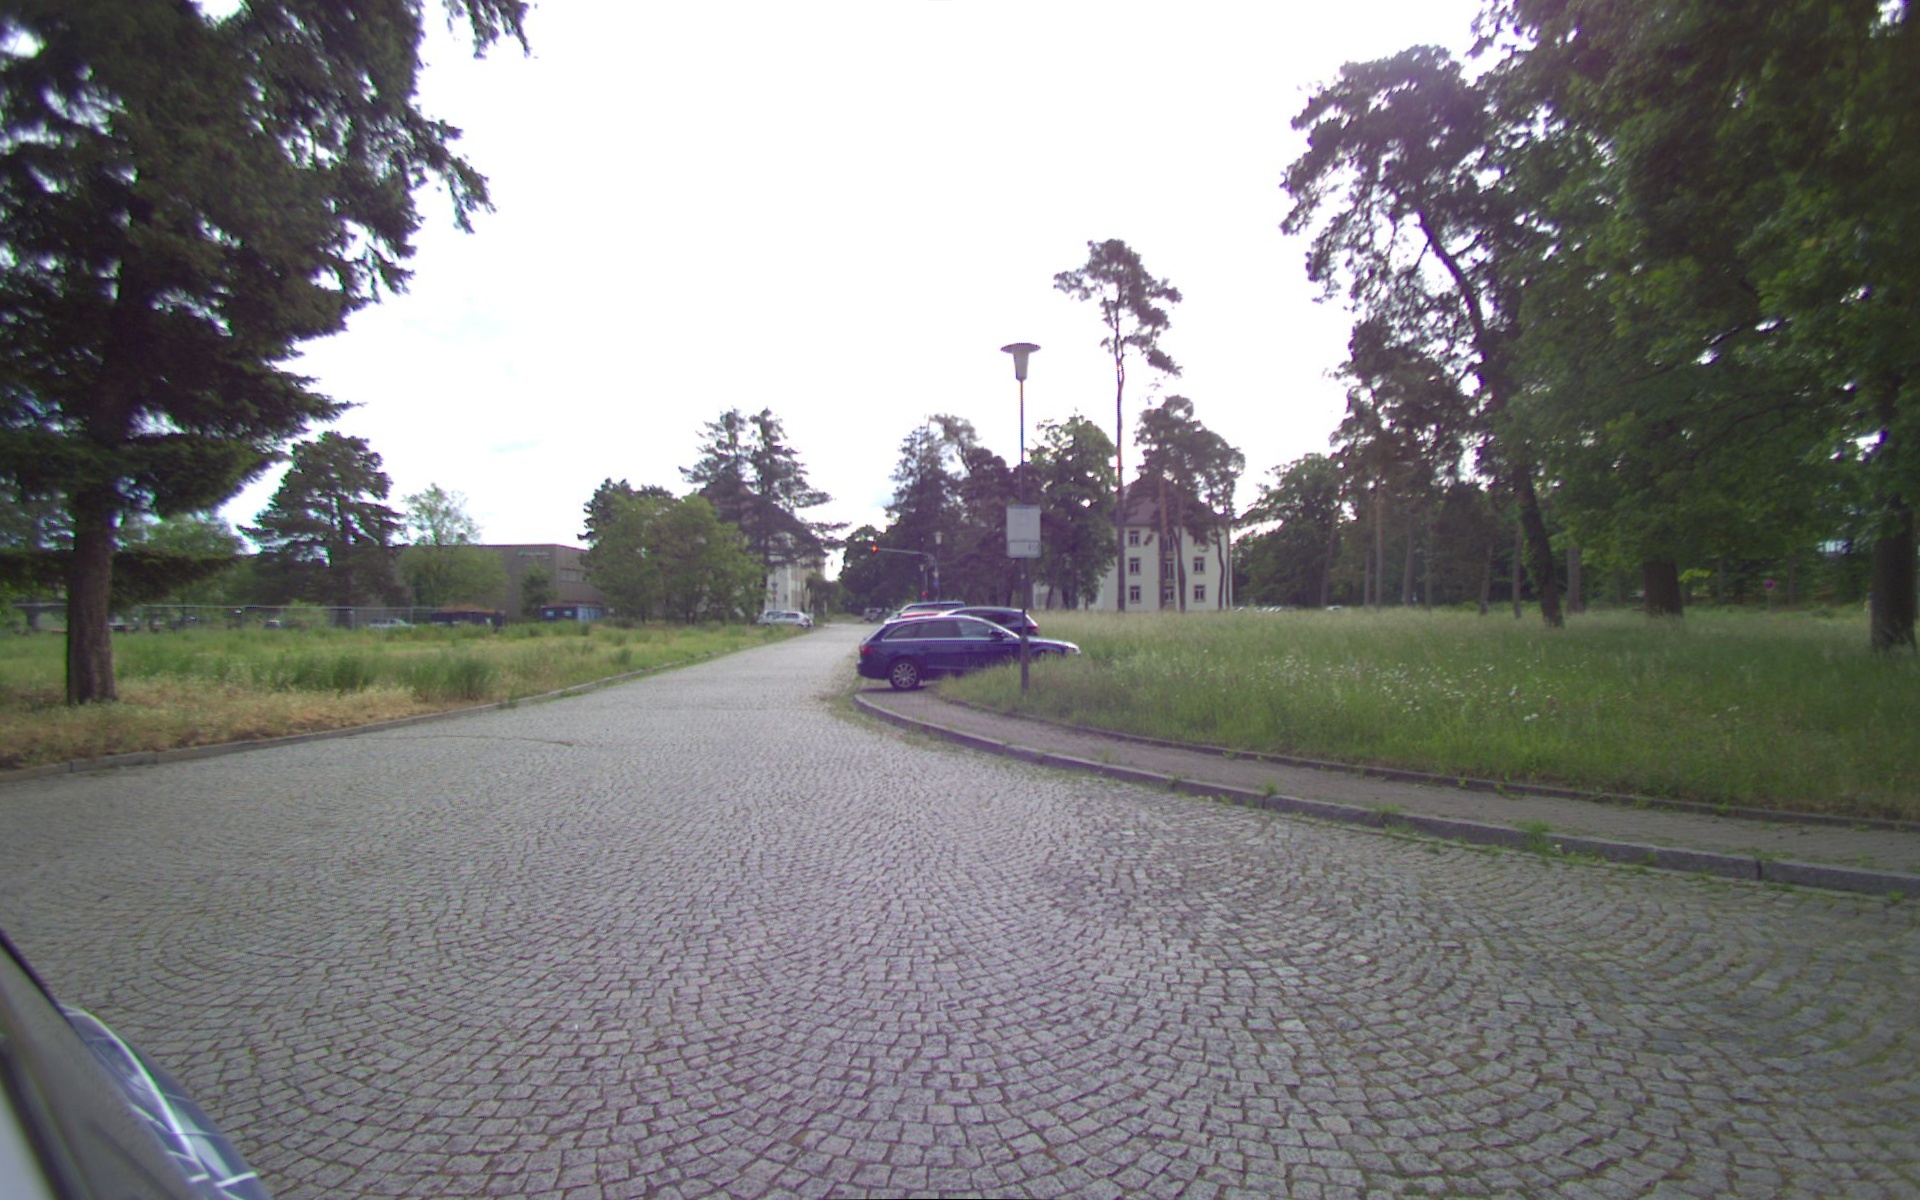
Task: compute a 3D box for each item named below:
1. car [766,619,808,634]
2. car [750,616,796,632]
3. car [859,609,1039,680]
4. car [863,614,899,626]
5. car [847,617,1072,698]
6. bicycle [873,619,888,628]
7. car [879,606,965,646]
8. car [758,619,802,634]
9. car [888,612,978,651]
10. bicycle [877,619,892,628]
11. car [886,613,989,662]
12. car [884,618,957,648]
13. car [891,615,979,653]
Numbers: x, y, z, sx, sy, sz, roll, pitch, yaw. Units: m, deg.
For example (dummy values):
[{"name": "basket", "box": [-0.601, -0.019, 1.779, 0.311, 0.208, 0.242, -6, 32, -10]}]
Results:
[{"name": "car", "box": [-13.539, 2.081, 79.389, 3.218, 1.095, 1.399, -1, -1, -7]}, {"name": "car", "box": [-15.153, 1.919, 82.200, 3.542, 1.220, 1.585, -1, -1, -4]}, {"name": "car", "box": [-0.322, 1.081, 25.195, 4.300, 1.574, 1.766, -2, -1, -4]}, {"name": "car", "box": [-11.341, 2.850, 144.868, 4.906, 1.634, 1.906, -1, -1, -10]}, {"name": "car", "box": [-0.024, 1.125, 20.461, 4.293, 1.415, 1.764, -2, -1, 0]}, {"name": "bicycle", "box": [-9.995, 2.984, 127.116, 1.831, 1.103, 0.512, -1, -1, -11]}, {"name": "car", "box": [-2.091, 1.393, 54.635, 4.477, 1.916, 1.795, -2, -1, -4]}, {"name": "car", "box": [-13.631, 1.989, 76.926, 3.218, 1.095, 1.452, -1, -1, -7]}, {"name": "car", "box": [-1.263, 1.420, 45.803, 3.894, 1.557, 1.766, -2, -1, -4]}, {"name": "bicycle", "box": [-9.637, 2.982, 128.424, 1.831, 1.103, 0.512, -1, -1, -11]}, {"name": "car", "box": [-0.819, 1.294, 35.434, 3.447, 1.493, 1.604, -2, -1, -4]}, {"name": "car", "box": [-2.048, 1.674, 52.104, 3.639, 1.349, 1.585, -2, -1, -4]}, {"name": "car", "box": [-1.081, 1.435, 43.099, 3.608, 1.432, 1.579, -2, -1, -5]}]
